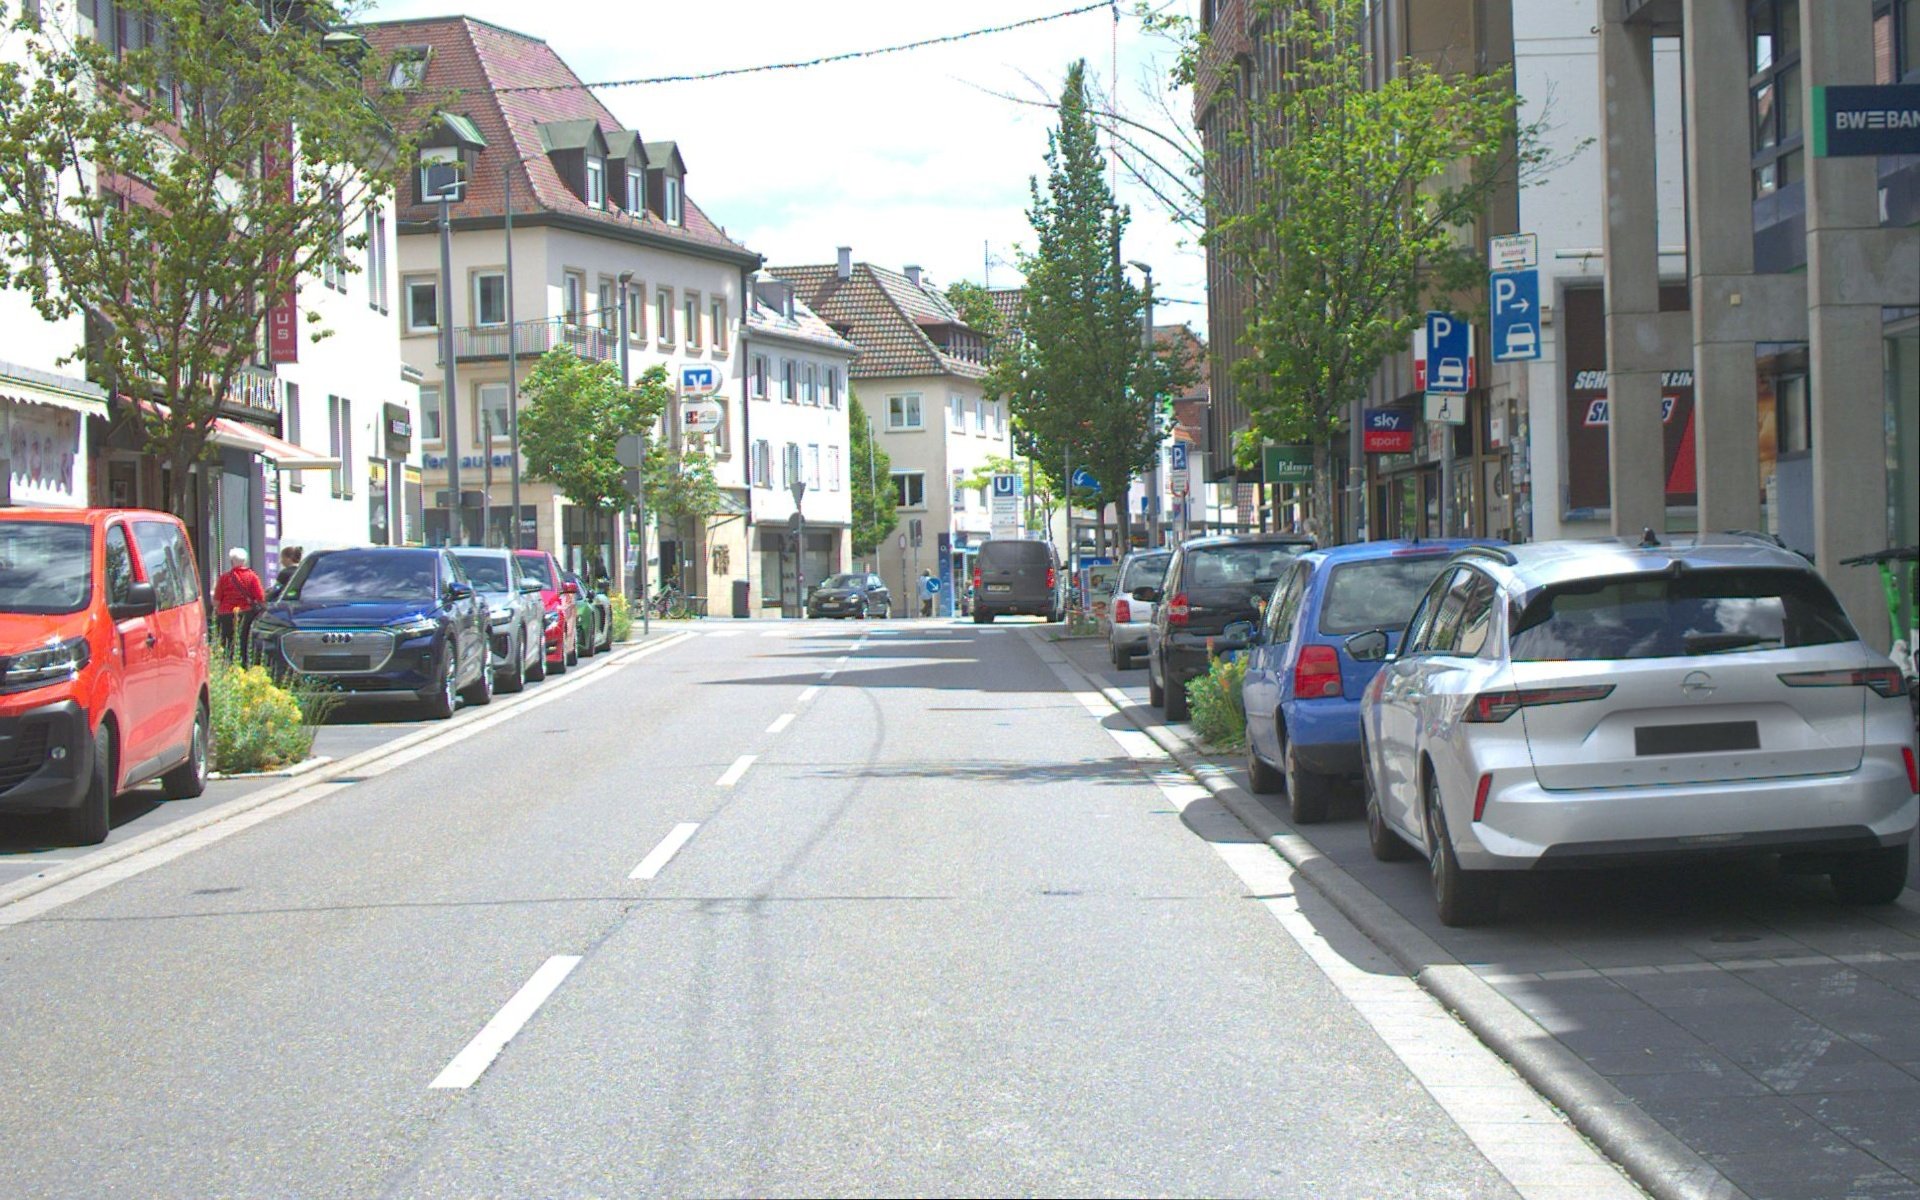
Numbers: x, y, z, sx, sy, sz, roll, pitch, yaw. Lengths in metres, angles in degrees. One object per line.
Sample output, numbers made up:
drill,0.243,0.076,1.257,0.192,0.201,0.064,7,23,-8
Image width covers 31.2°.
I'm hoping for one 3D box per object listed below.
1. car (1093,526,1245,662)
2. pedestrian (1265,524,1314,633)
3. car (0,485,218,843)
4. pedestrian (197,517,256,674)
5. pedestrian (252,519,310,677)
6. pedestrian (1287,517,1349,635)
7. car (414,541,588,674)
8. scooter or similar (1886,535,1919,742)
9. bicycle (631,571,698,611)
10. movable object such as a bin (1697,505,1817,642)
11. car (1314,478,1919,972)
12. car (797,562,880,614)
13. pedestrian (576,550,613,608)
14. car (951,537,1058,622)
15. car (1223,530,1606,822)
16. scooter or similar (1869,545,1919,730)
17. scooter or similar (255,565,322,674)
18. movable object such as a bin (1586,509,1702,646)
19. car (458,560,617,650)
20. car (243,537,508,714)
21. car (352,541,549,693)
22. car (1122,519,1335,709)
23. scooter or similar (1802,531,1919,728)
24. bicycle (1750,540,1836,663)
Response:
car,2.536,-0.106,42.370,1.609,1.490,3.795,-4,1,1
pedestrian,5.509,-0.363,57.529,0.737,1.808,0.711,0,0,0
car,-5.715,0.317,20.460,1.816,1.882,4.841,0,0,-4
pedestrian,-7.735,-0.046,36.243,0.501,1.642,0.574,0,0,-2
pedestrian,-7.147,-0.023,36.184,0.514,1.642,0.472,0,0,-2
pedestrian,5.238,-0.348,50.309,0.655,1.701,0.647,0,0,-23
car,-5.871,0.059,44.395,1.799,1.598,4.219,-1,1,-2
scooter or similar,5.957,0.232,20.508,0.422,1.241,1.561,0,0,-1
bicycle,-7.656,-0.230,89.065,1.633,1.027,0.567,1,0,15
movable object such as a bin,8.993,-0.296,38.831,1.142,1.522,1.032,0,0,3
car,2.595,0.391,14.275,1.721,1.571,4.429,-6,1,1
car,-3.576,-0.360,101.815,1.625,1.481,3.803,1,0,11
pedestrian,-9.616,-0.550,90.498,0.627,1.527,0.857,1,0,24
car,0.961,-0.471,77.769,2.040,1.842,5.000,0,0,-4
car,2.503,0.380,19.792,1.721,1.488,4.109,0,0,1
scooter or similar,6.663,0.250,23.577,0.422,1.241,1.561,0,0,-1
scooter or similar,-7.204,0.205,36.912,0.562,1.147,0.985,0,0,-3
movable object such as a bin,7.746,-0.257,38.984,1.142,1.522,1.032,0,0,3
car,-6.221,0.047,51.051,1.819,1.219,4.524,1,1,0
car,-5.575,0.193,33.286,1.799,1.592,4.389,0,1,0
car,-5.723,0.141,39.044,1.799,1.598,4.352,-1,1,-3
car,2.321,0.083,30.486,1.609,1.527,3.795,-2,1,1
scooter or similar,5.946,0.186,22.346,0.405,1.241,1.325,0,0,-10
bicycle,7.794,0.012,32.222,0.425,1.115,1.741,0,0,2
